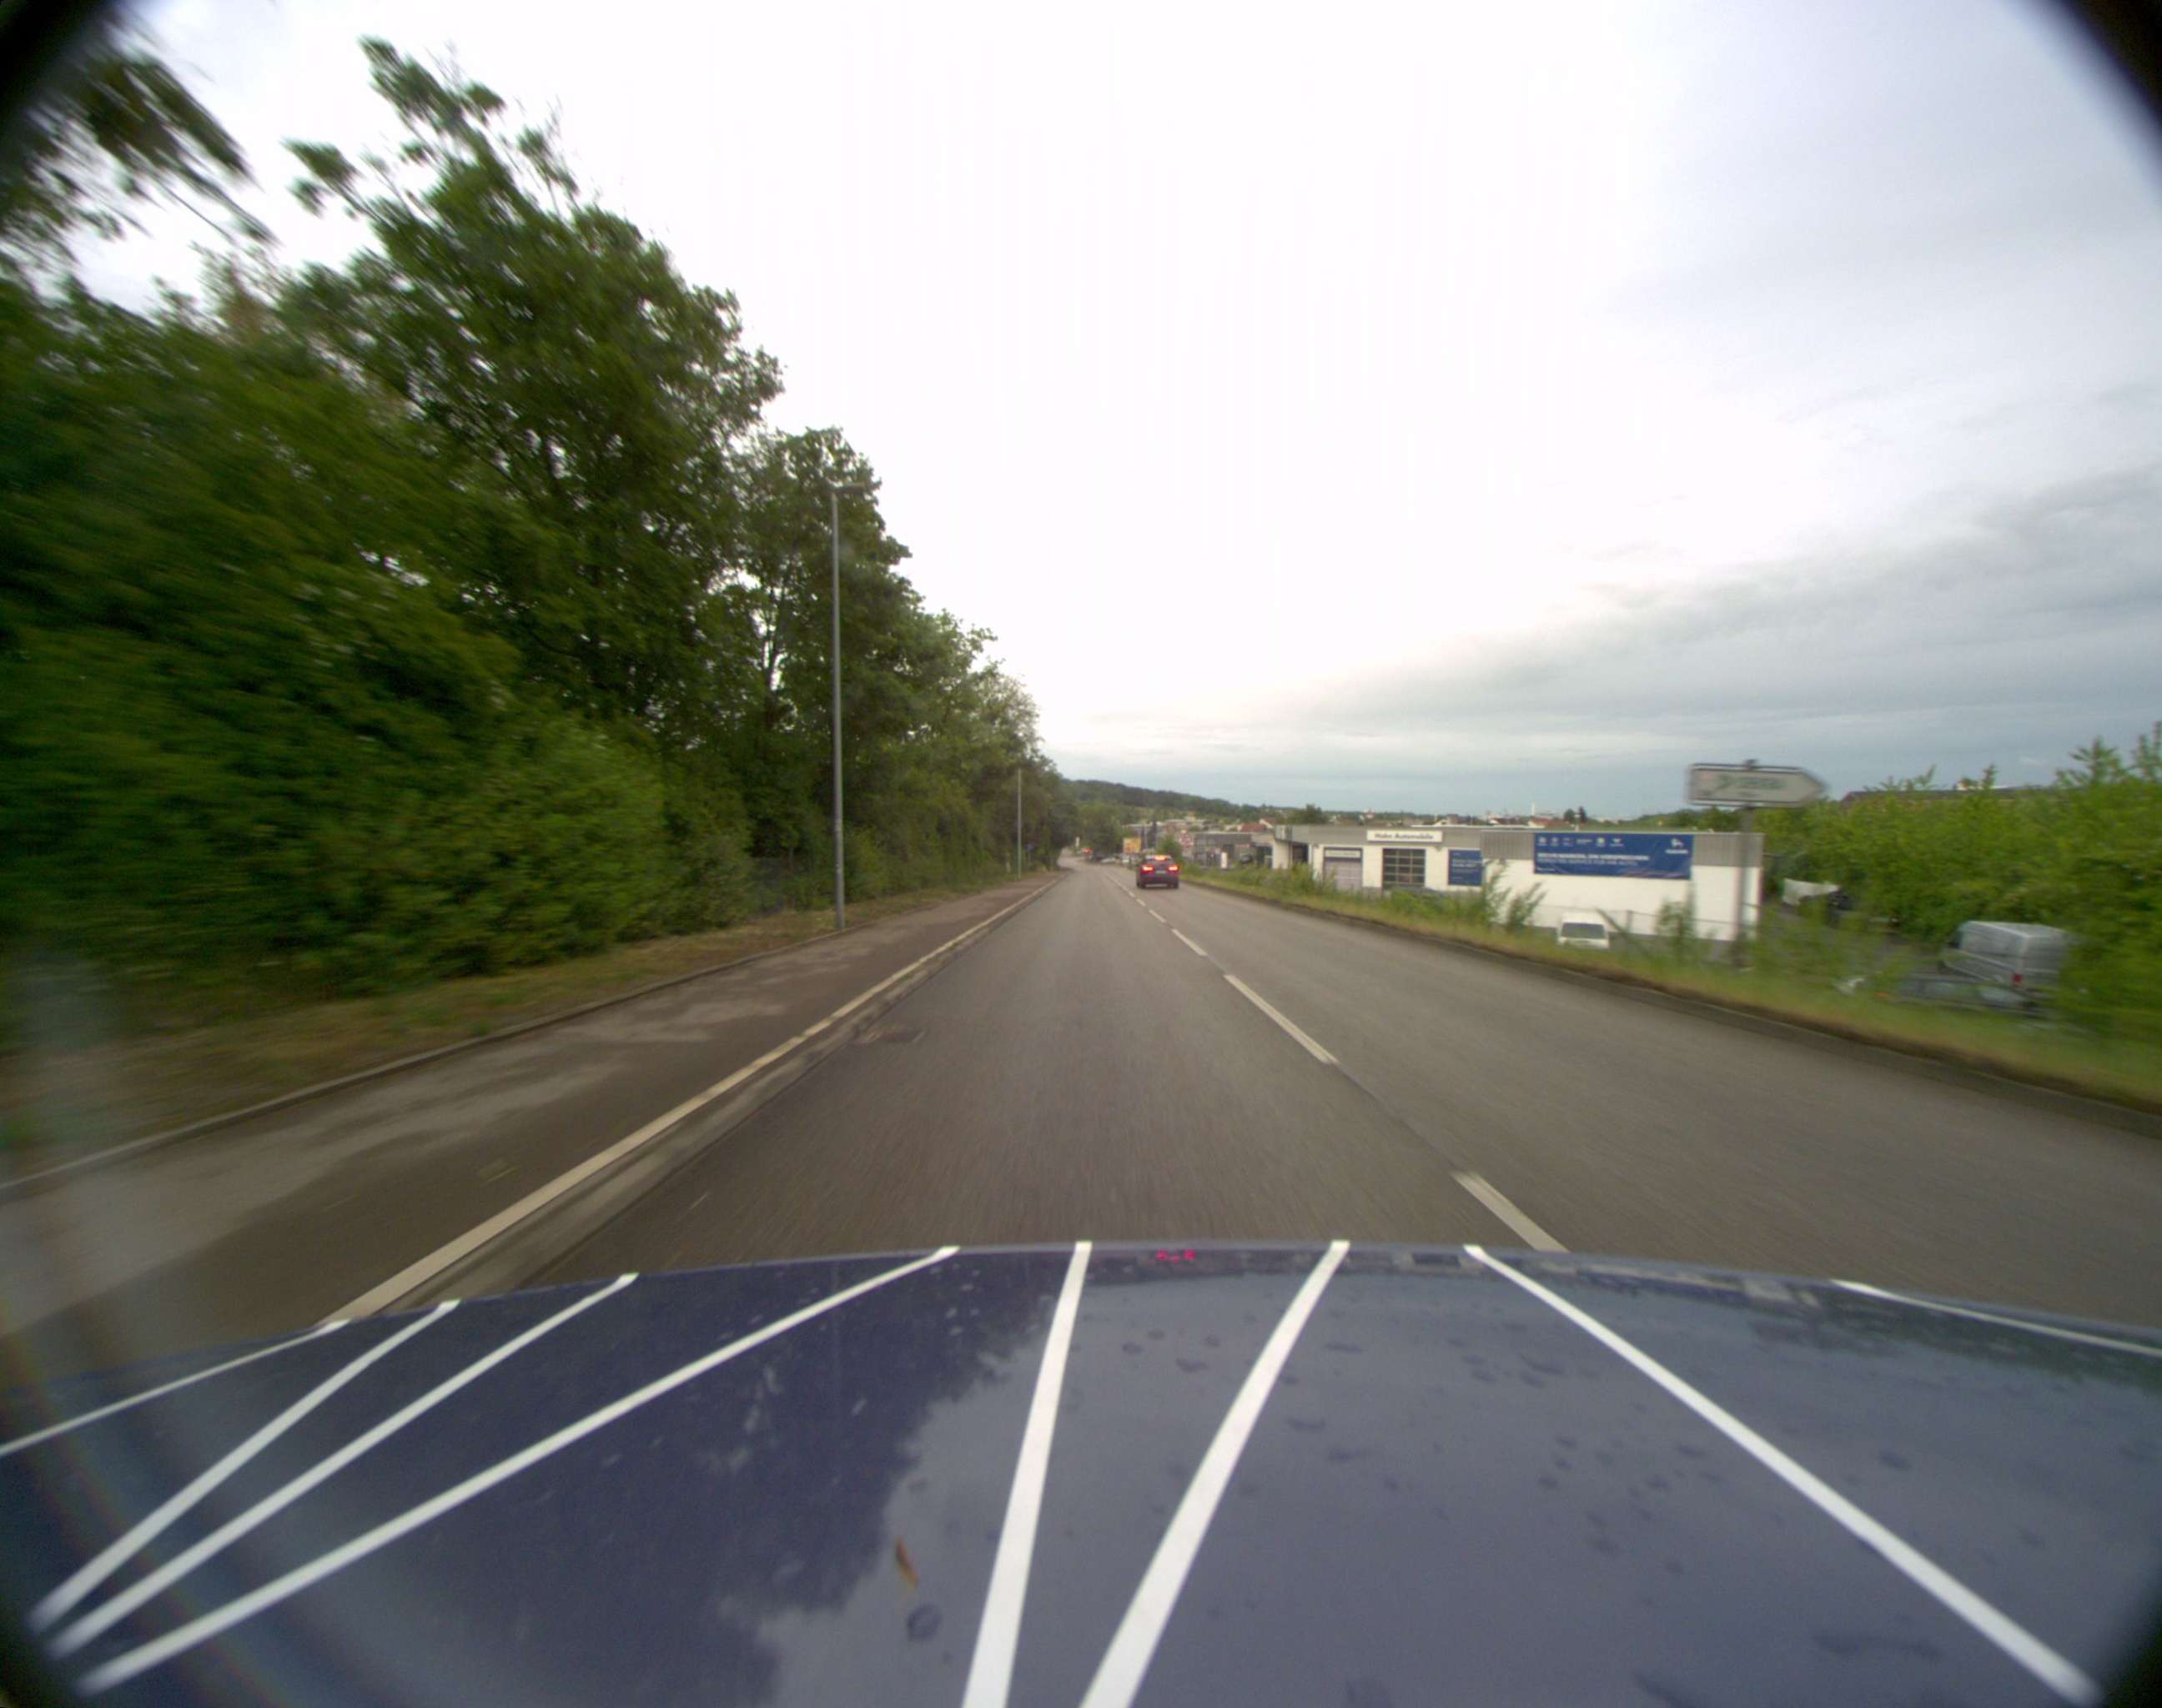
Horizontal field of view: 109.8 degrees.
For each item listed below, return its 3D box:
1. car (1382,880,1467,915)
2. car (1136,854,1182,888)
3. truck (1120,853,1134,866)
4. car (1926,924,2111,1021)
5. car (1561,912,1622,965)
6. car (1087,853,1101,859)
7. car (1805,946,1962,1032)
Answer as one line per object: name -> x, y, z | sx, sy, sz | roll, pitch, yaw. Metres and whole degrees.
car -> 22.527, 2.841, 49.864 | 4.625, 1.793, 1.872 | 5, 0, 38
car -> 3.864, 0.798, 38.432 | 1.873, 1.576, 4.414 | -1, 0, 0
truck -> 9.646, 1.209, 160.545 | 1.999, 2.617, 7.889 | 1, 0, -3
car -> 32.515, 3.956, 26.688 | 1.979, 2.447, 6.611 | 5, 1, 33
car -> 21.701, 3.519, 32.451 | 1.861, 1.793, 4.653 | 5, 0, 32
car -> 3.529, 0.629, 208.736 | 3.768, 1.558, 1.671 | 1, 1, -3
car -> 22.764, 3.730, 21.799 | 1.861, 1.683, 4.653 | 5, 0, 32
